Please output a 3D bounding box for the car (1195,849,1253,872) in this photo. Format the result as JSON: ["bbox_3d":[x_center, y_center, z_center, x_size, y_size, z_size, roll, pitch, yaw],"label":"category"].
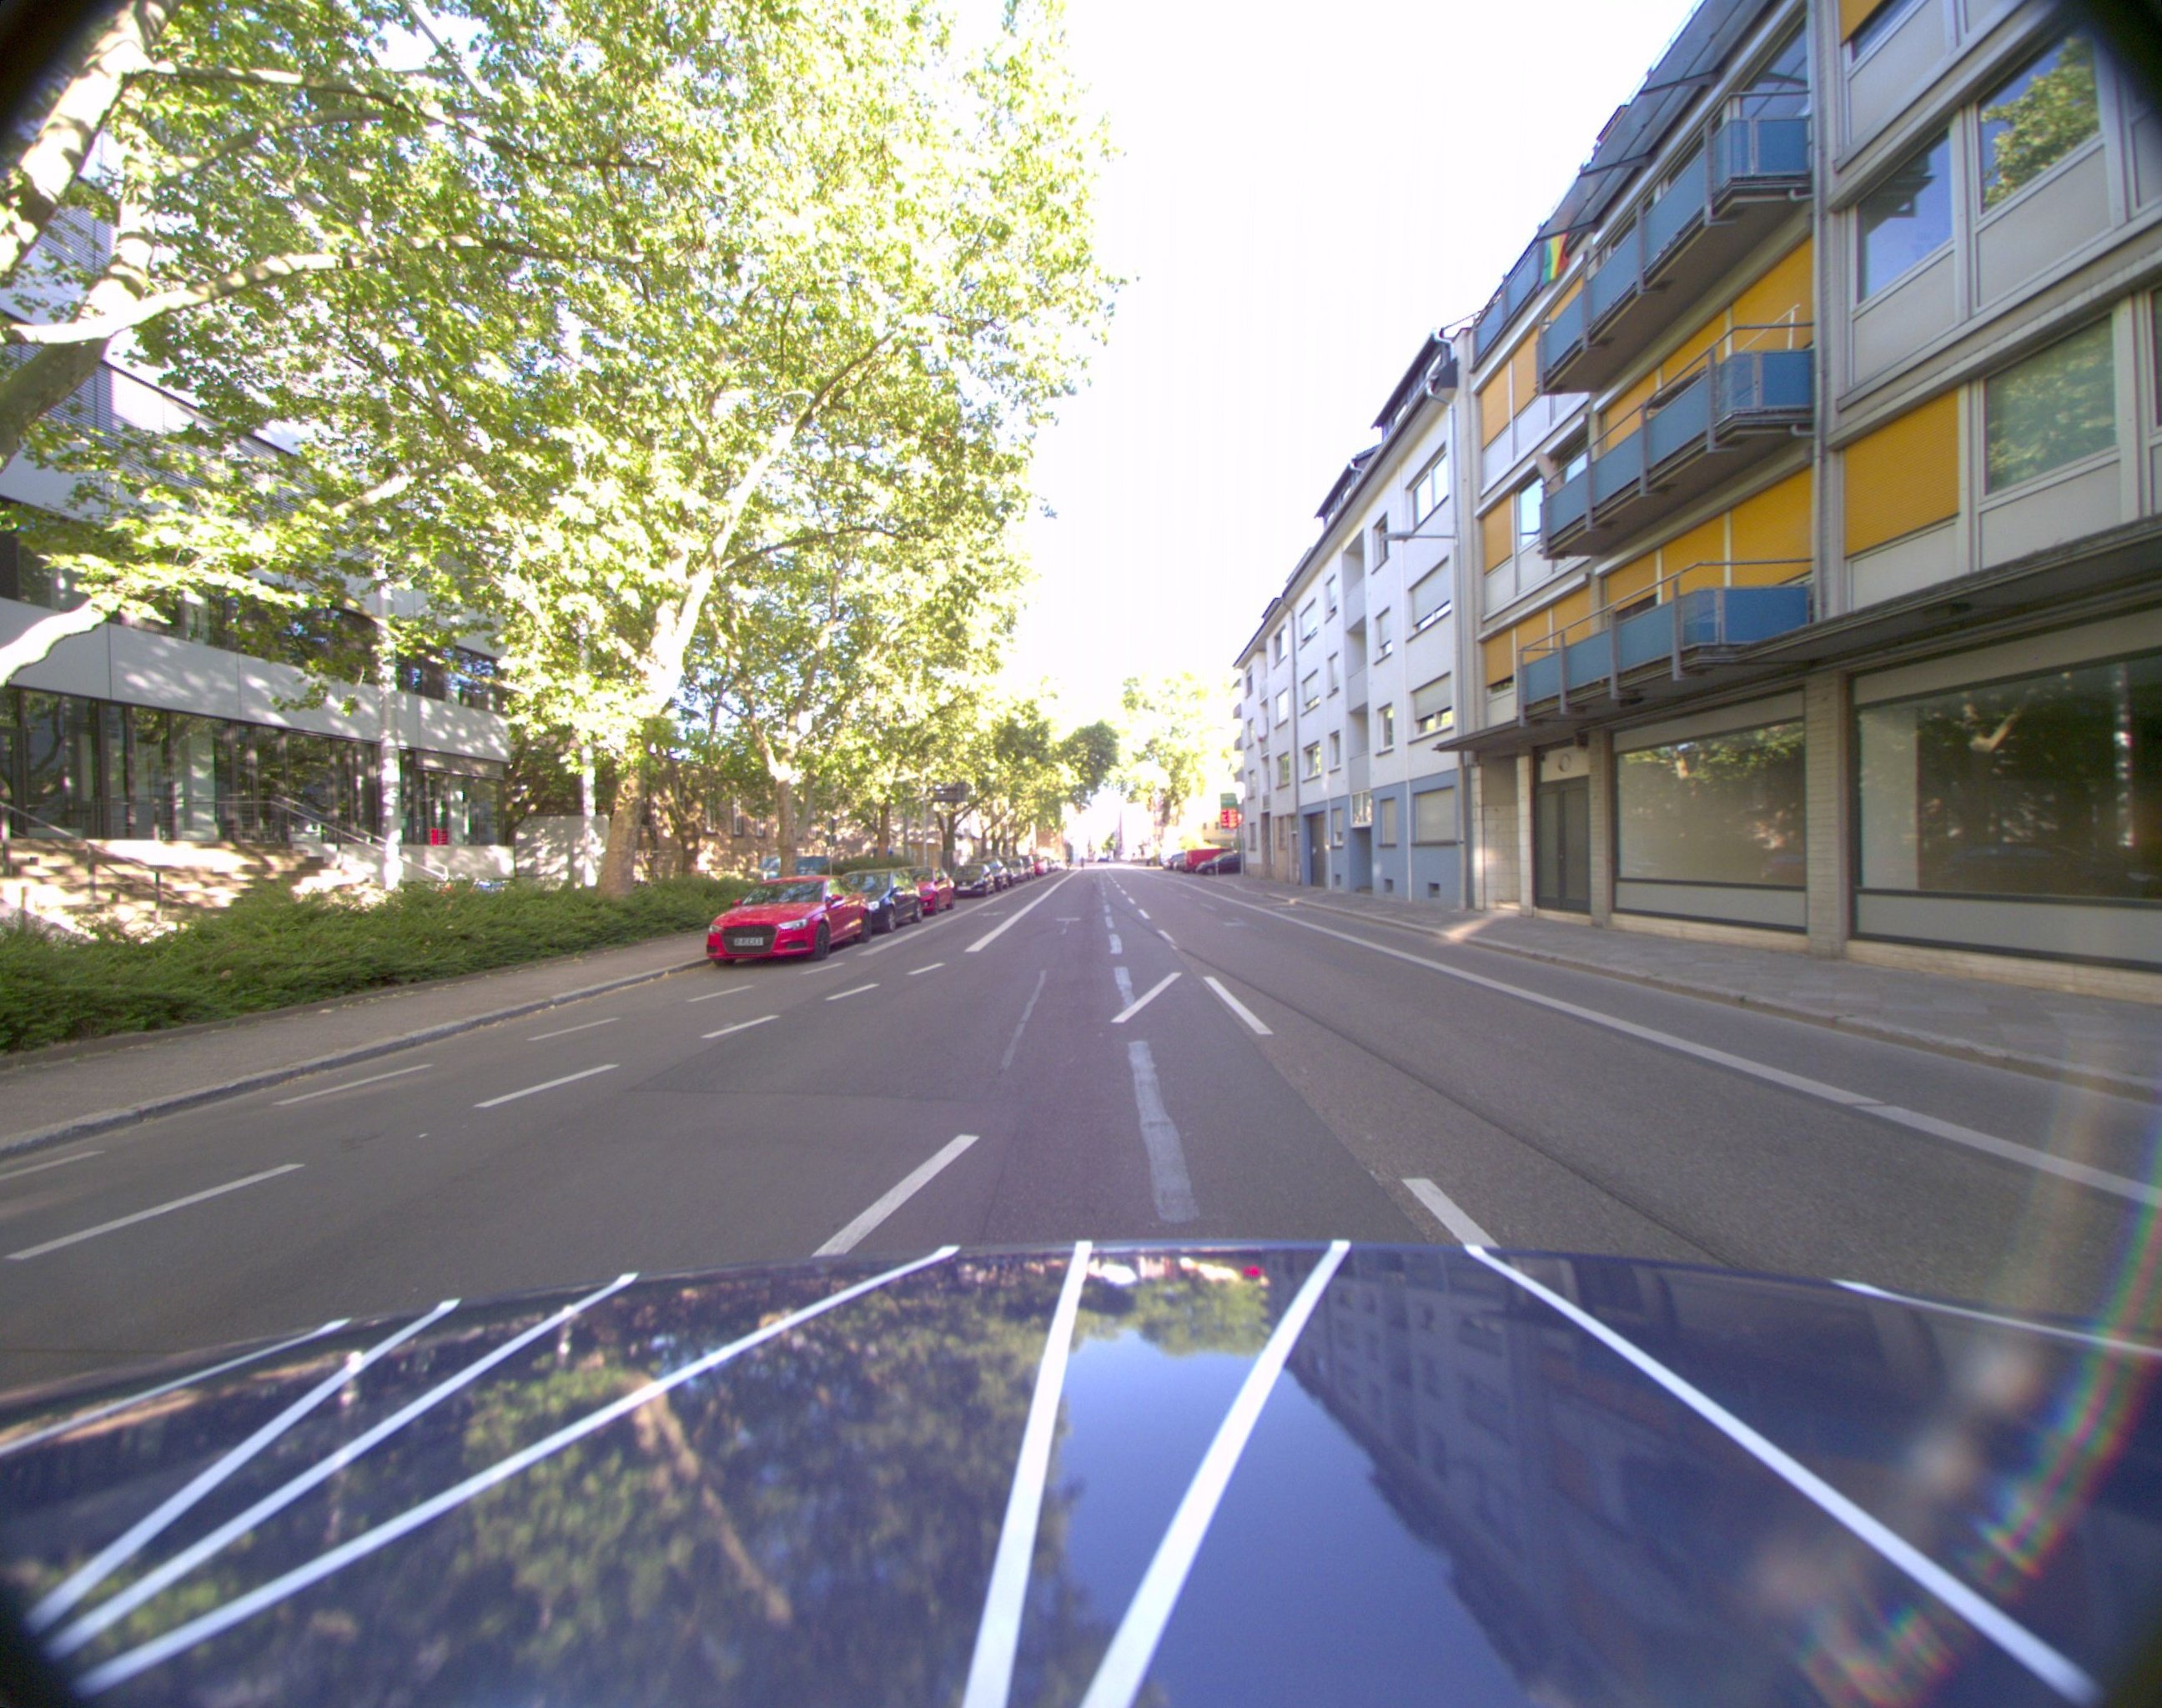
[{"bbox_3d":[10.724,0.480,57.154,3.996,1.494,1.761,-2,1,2],"label":"car"}]

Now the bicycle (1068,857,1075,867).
[{"bbox_3d":[-1.137,0.934,88.615,0.717,1.052,2.485,-2,1,1],"label":"bicycle"}]

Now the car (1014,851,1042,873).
[{"bbox_3d":[-4.596,0.699,66.104,2.042,1.745,4.552,-3,0,0],"label":"car"}]

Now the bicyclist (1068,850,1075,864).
[{"bbox_3d":[-1.148,0.344,88.436,0.718,1.573,0.936,-2,1,1],"label":"bicyclist"}]

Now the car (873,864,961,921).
[{"bbox_3d":[-5.032,1.123,23.870,1.818,1.475,4.163,-3,0,0],"label":"car"}]

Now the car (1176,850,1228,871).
[{"bbox_3d":[9.974,0.527,62.856,3.996,1.494,1.761,-2,1,2],"label":"car"}]

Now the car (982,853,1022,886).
[{"bbox_3d":[-4.528,0.868,44.159,1.790,1.745,4.345,-3,0,0],"label":"car"}]

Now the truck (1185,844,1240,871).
[{"bbox_3d":[10.363,0.246,60.003,3.996,1.925,1.761,-2,1,2],"label":"truck"}]

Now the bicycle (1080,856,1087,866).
[{"bbox_3d":[0.318,0.799,89.251,0.717,1.052,2.485,-2,1,1],"label":"bicycle"}]

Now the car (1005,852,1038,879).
[{"bbox_3d":[-4.321,0.796,55.673,2.042,1.745,4.552,-3,0,0],"label":"car"}]

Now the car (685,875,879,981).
[{"bbox_3d":[-5.140,1.192,13.731,1.818,1.405,4.163,-3,0,0],"label":"car"}]

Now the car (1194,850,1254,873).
[{"bbox_3d":[10.250,0.547,54.807,3.996,1.449,1.761,-2,1,2],"label":"car"}]

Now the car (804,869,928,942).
[{"bbox_3d":[-5.085,1.169,18.587,1.818,1.405,4.163,-3,0,0],"label":"car"}]

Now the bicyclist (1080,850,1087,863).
[{"bbox_3d":[0.295,0.291,89.199,0.718,1.573,0.936,-2,1,1],"label":"bicyclist"}]

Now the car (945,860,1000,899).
[{"bbox_3d":[-4.705,1.077,33.397,1.790,1.451,4.163,-3,0,0],"label":"car"}]

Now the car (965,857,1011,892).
[{"bbox_3d":[-4.604,0.977,38.143,1.790,1.544,4.163,-3,0,0],"label":"car"}]

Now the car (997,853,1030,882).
[{"bbox_3d":[-4.450,0.852,50.715,1.790,1.745,4.552,-3,0,0],"label":"car"}]
